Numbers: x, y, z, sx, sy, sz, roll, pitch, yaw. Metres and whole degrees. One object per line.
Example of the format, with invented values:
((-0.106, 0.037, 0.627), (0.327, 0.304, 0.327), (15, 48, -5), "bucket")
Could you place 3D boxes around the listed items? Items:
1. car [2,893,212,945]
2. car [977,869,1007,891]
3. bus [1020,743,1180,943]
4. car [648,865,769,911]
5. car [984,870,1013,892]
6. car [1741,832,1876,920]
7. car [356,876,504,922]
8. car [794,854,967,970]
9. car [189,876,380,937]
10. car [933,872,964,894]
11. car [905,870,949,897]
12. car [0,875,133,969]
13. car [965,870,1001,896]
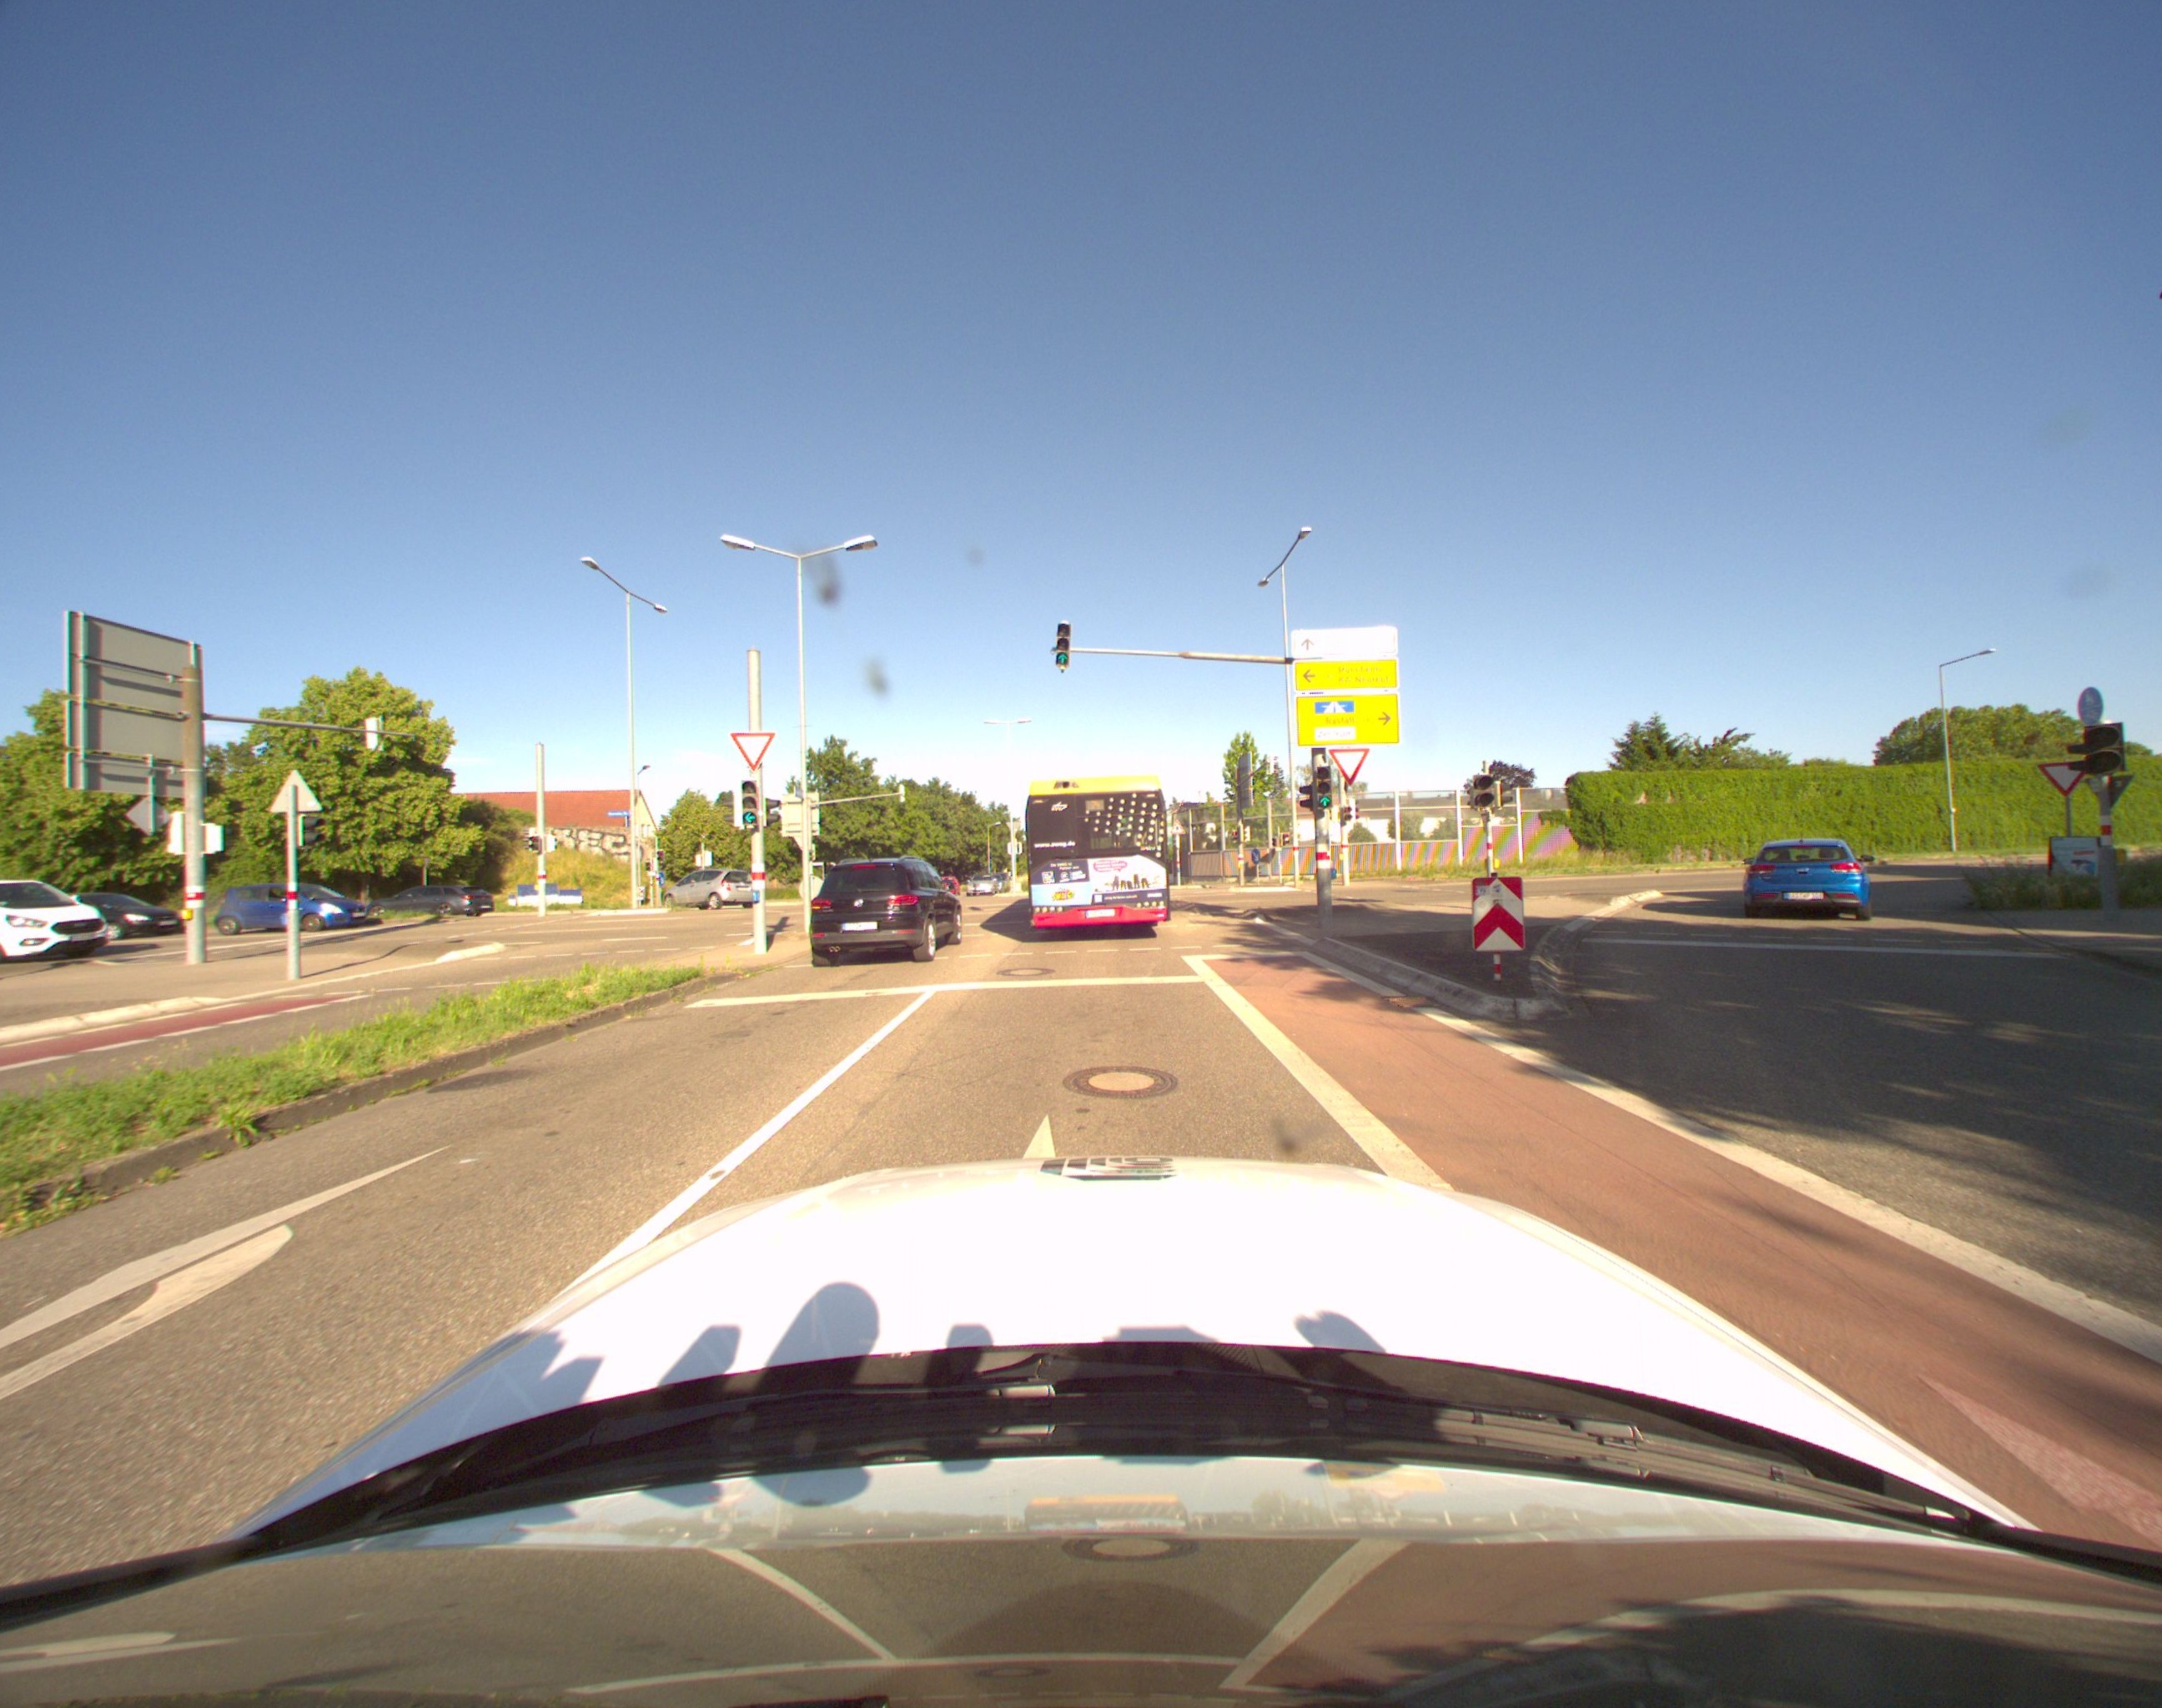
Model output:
((-30.585, 2.013, 25.691), (4.020, 1.274, 1.890), (-2, 1, -5), "car")
((-6.506, 1.893, 59.546), (1.741, 1.483, 3.886), (-3, -1, -1), "car")
((0.323, -0.165, 20.319), (2.749, 3.458, 12.395), (0, 0, 0), "bus")
((-14.663, 1.319, 32.038), (4.361, 1.616, 2.061), (-2, 1, 29), "car")
((-6.693, 2.177, 66.363), (1.988, 1.616, 4.527), (-2, -1, -1), "car")
((13.927, 0.359, 15.636), (1.715, 1.440, 3.817), (-2, 0, 42), "car")
((-27.032, 1.845, 33.958), (4.392, 1.616, 2.046), (-2, -1, -2), "car")
((-3.205, 0.861, 13.873), (1.820, 1.627, 4.001), (-2, -1, 1), "car")
((-25.499, 1.643, 26.221), (4.020, 1.644, 1.890), (-2, 1, -5), "car")
((-9.833, 2.136, 60.734), (1.640, 1.483, 3.711), (-3, -1, -1), "car")
((-10.070, 1.930, 53.664), (1.988, 1.644, 4.528), (-3, -1, -1), "car")
((-26.237, 1.634, 19.043), (5.250, 2.013, 2.044), (-2, 1, -5), "car")
((-6.358, 1.876, 53.428), (1.788, 1.506, 4.528), (-3, -1, -1), "car")
